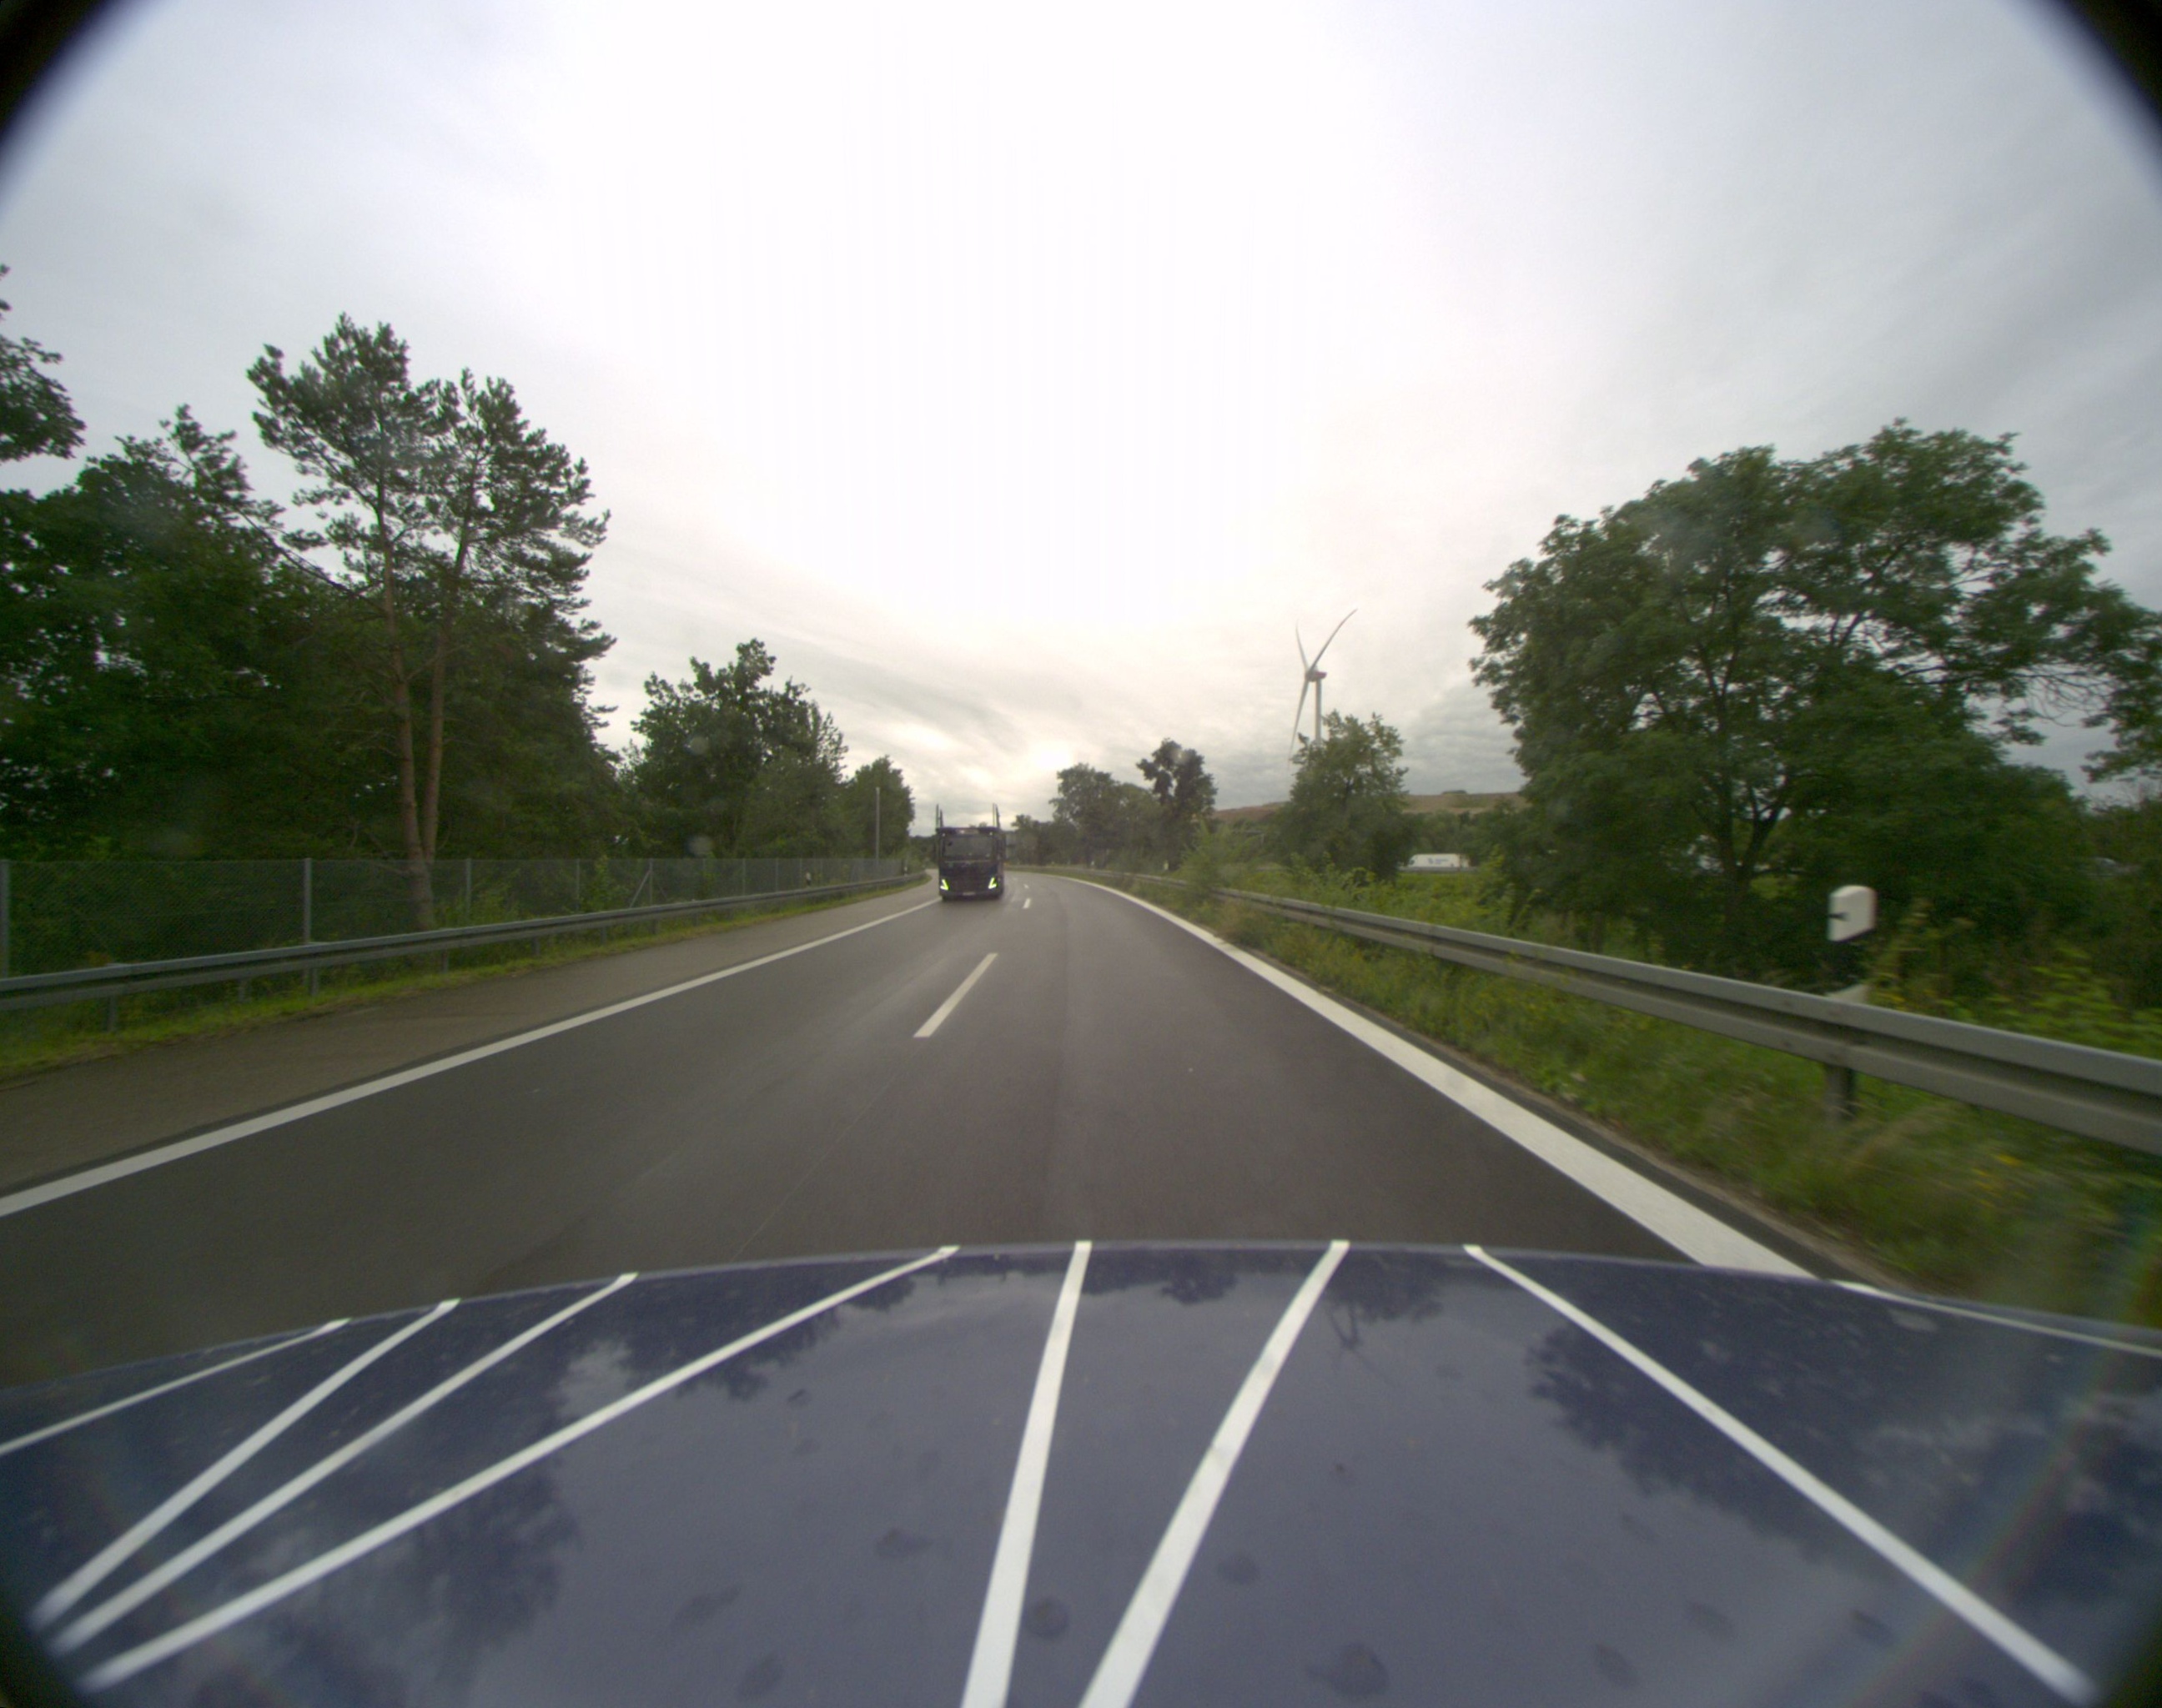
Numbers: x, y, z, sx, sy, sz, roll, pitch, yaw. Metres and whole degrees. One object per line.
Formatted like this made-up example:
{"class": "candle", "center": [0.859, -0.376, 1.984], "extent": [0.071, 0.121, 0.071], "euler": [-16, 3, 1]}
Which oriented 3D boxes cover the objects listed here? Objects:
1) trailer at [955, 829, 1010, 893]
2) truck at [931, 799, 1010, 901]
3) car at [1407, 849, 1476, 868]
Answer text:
{"class": "trailer", "center": [-5.606, 0.392, 44.613], "extent": [2.786, 3.265, 10.402], "euler": [-1, 0, -5]}
{"class": "truck", "center": [-4.829, -0.127, 34.841], "extent": [2.746, 3.944, 9.125], "euler": [-3, 0, -4]}
{"class": "car", "center": [57.348, 0.676, 121.215], "extent": [2.745, 2.965, 10.058], "euler": [-1, 0, -30]}
